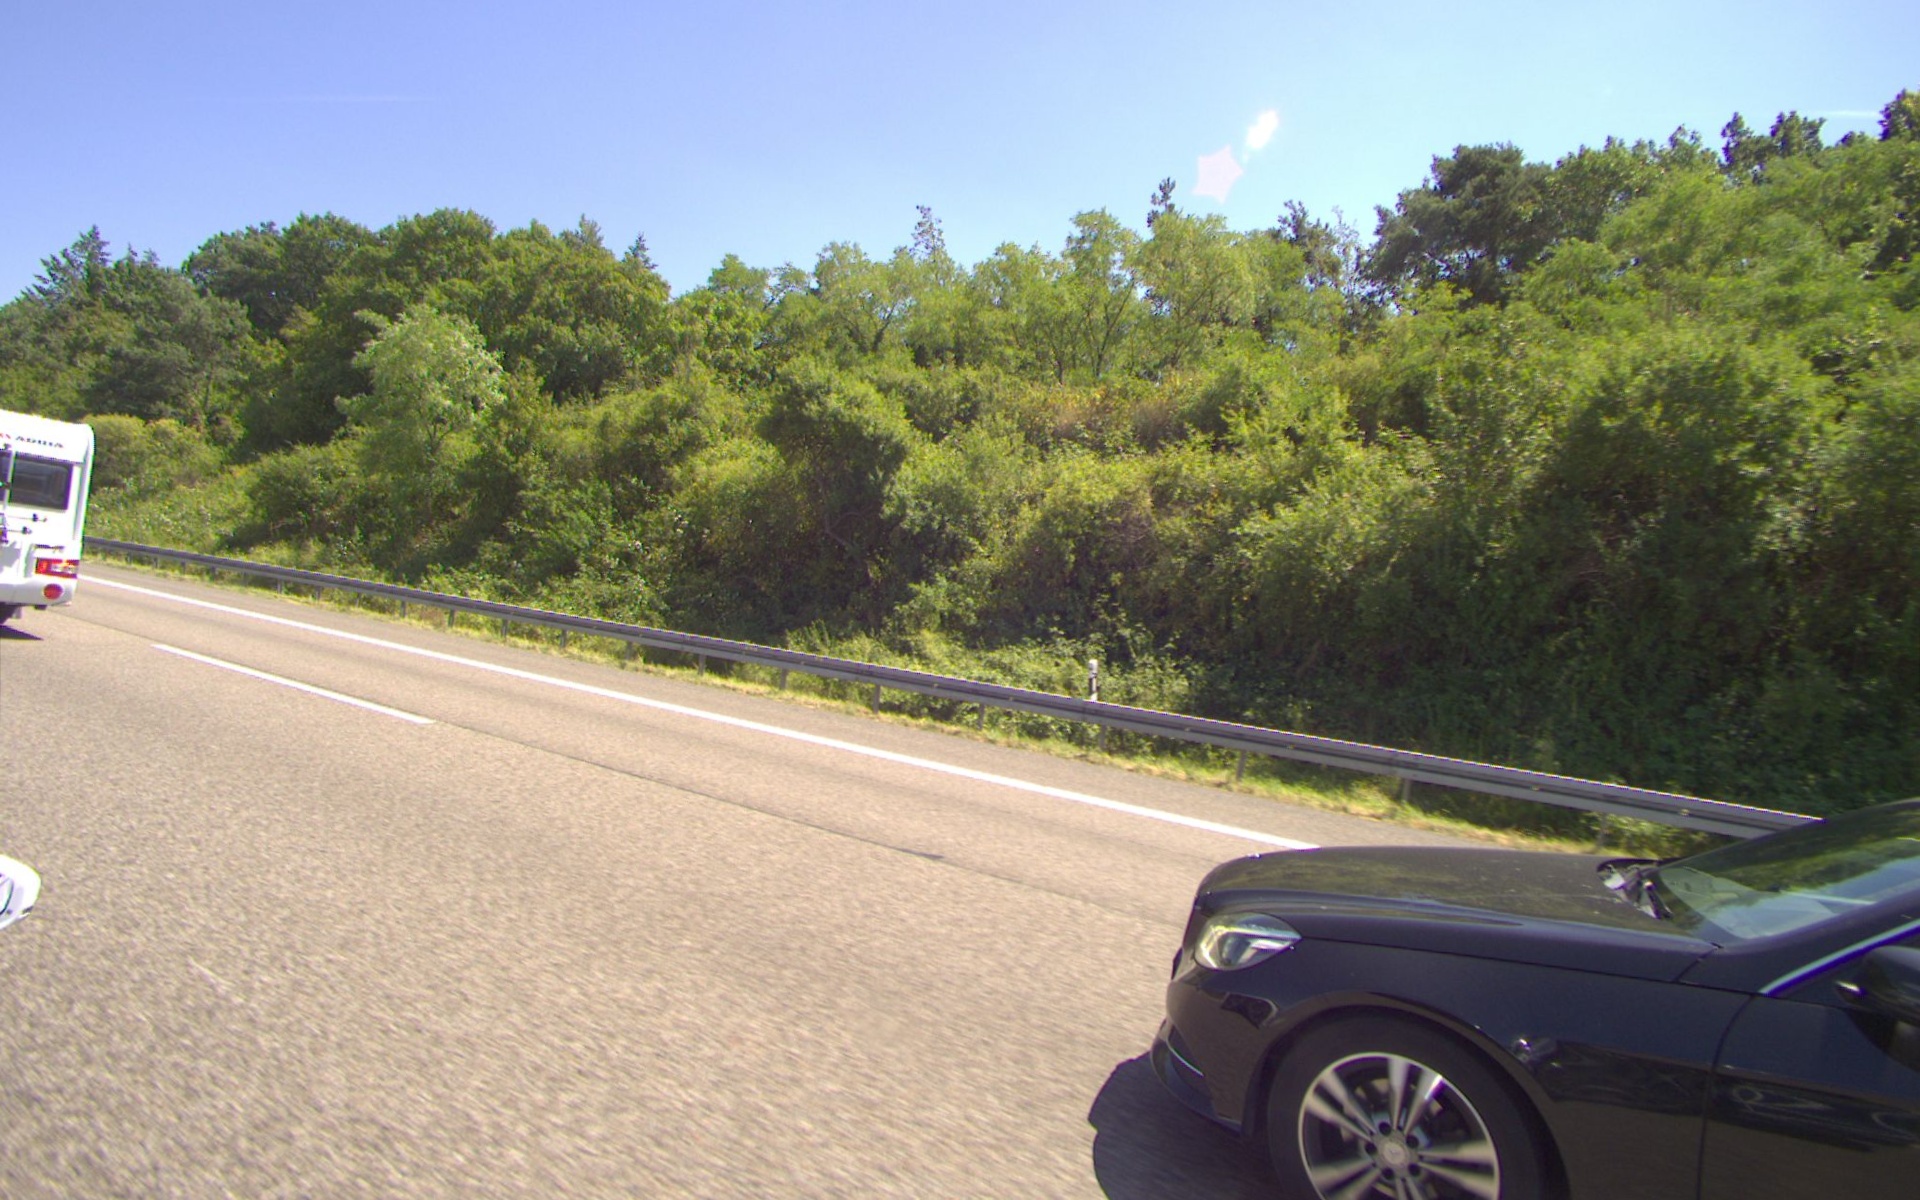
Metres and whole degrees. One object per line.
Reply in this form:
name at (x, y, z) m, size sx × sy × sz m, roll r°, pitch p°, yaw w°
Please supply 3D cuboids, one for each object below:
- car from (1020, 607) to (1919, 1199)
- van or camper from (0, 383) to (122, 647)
car at (2.709, 1.106, 2.549) m, size 4.660 × 1.522 × 1.845 m, roll 7°, pitch -2°, yaw 32°
van or camper at (-12.795, -1.223, 11.935) m, size 6.245 × 2.707 × 2.442 m, roll 7°, pitch 0°, yaw 33°
